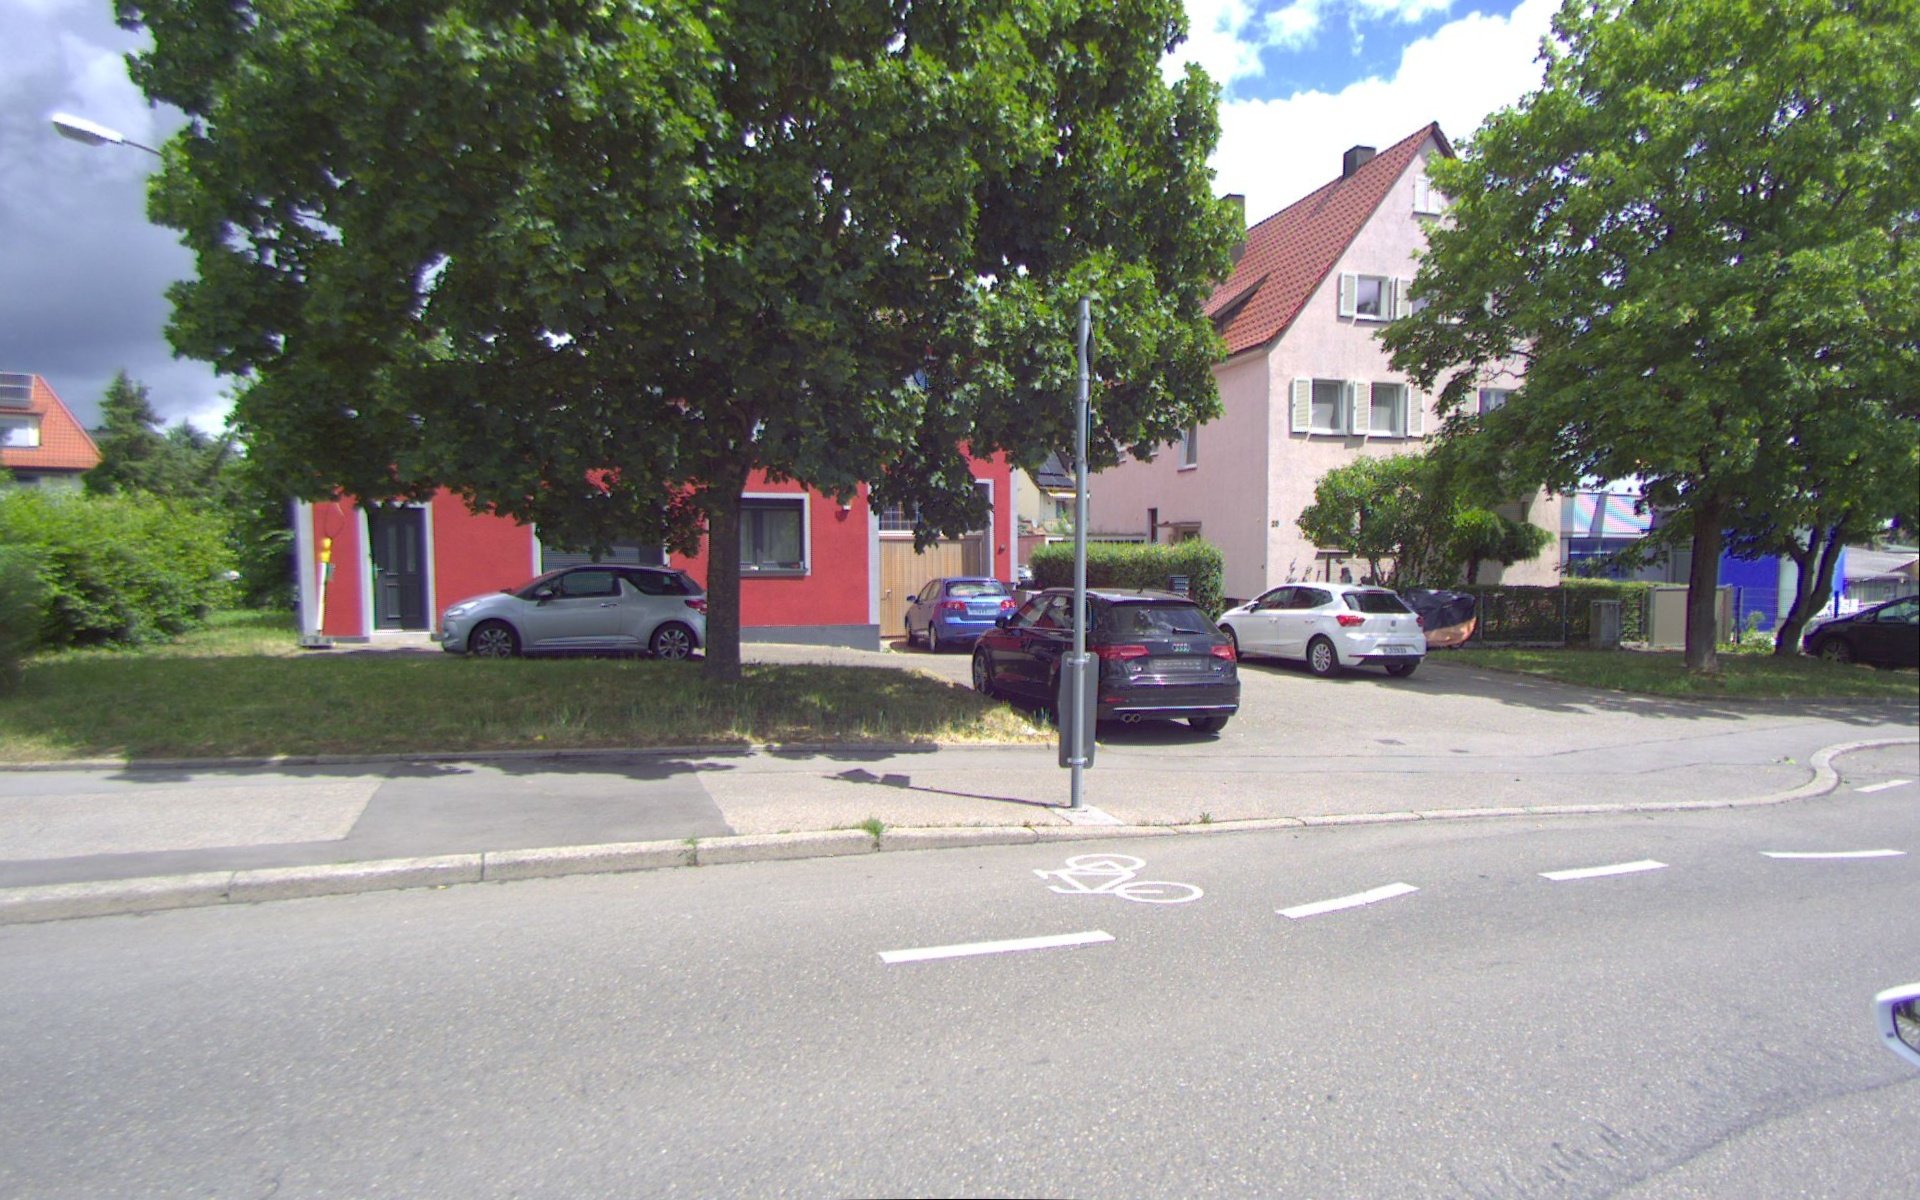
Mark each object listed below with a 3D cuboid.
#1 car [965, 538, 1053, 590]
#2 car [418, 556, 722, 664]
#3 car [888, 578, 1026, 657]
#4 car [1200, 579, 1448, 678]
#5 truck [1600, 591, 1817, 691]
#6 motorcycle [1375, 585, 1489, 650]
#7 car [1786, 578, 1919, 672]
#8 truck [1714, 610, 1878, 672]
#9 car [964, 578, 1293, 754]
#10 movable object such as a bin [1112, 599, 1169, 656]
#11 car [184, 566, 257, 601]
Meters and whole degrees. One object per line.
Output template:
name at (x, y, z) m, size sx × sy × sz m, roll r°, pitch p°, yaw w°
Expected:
car at (1.409, -1.073, 30.499) m, size 1.632 × 1.423 × 3.921 m, roll 1°, pitch 1°, yaw -13°
car at (-5.683, 0.148, 15.036) m, size 4.012 × 1.445 × 1.639 m, roll 1°, pitch 3°, yaw -17°
car at (-0.168, 0.287, 20.125) m, size 1.813 × 1.396 × 3.801 m, roll 1°, pitch 1°, yaw -16°
car at (5.931, 0.396, 16.905) m, size 1.847 × 1.423 × 3.914 m, roll 1°, pitch 1°, yaw -19°
truck at (24.044, 1.311, 32.322) m, size 5.785 × 2.912 × 2.457 m, roll 2°, pitch 1°, yaw -15°
motorcycle at (10.496, 0.391, 22.360) m, size 2.201 × 1.333 × 0.916 m, roll 2°, pitch 3°, yaw -18°
car at (19.567, 0.571, 19.794) m, size 1.968 × 1.739 × 4.696 m, roll 3°, pitch 2°, yaw -17°
truck at (40.747, 1.943, 49.147) m, size 2.151 × 2.742 × 5.755 m, roll 2°, pitch -1°, yaw -29°
car at (1.571, 0.561, 11.066) m, size 1.967 × 1.412 × 4.129 m, roll 1°, pitch 3°, yaw -16°
movable object such as a bin at (3.667, 0.555, 20.455) m, size 0.865 × 1.076 × 0.756 m, roll 2°, pitch 3°, yaw -13°
car at (-32.839, -0.771, 44.706) m, size 1.859 × 1.439 × 3.974 m, roll 1°, pitch 2°, yaw -25°
